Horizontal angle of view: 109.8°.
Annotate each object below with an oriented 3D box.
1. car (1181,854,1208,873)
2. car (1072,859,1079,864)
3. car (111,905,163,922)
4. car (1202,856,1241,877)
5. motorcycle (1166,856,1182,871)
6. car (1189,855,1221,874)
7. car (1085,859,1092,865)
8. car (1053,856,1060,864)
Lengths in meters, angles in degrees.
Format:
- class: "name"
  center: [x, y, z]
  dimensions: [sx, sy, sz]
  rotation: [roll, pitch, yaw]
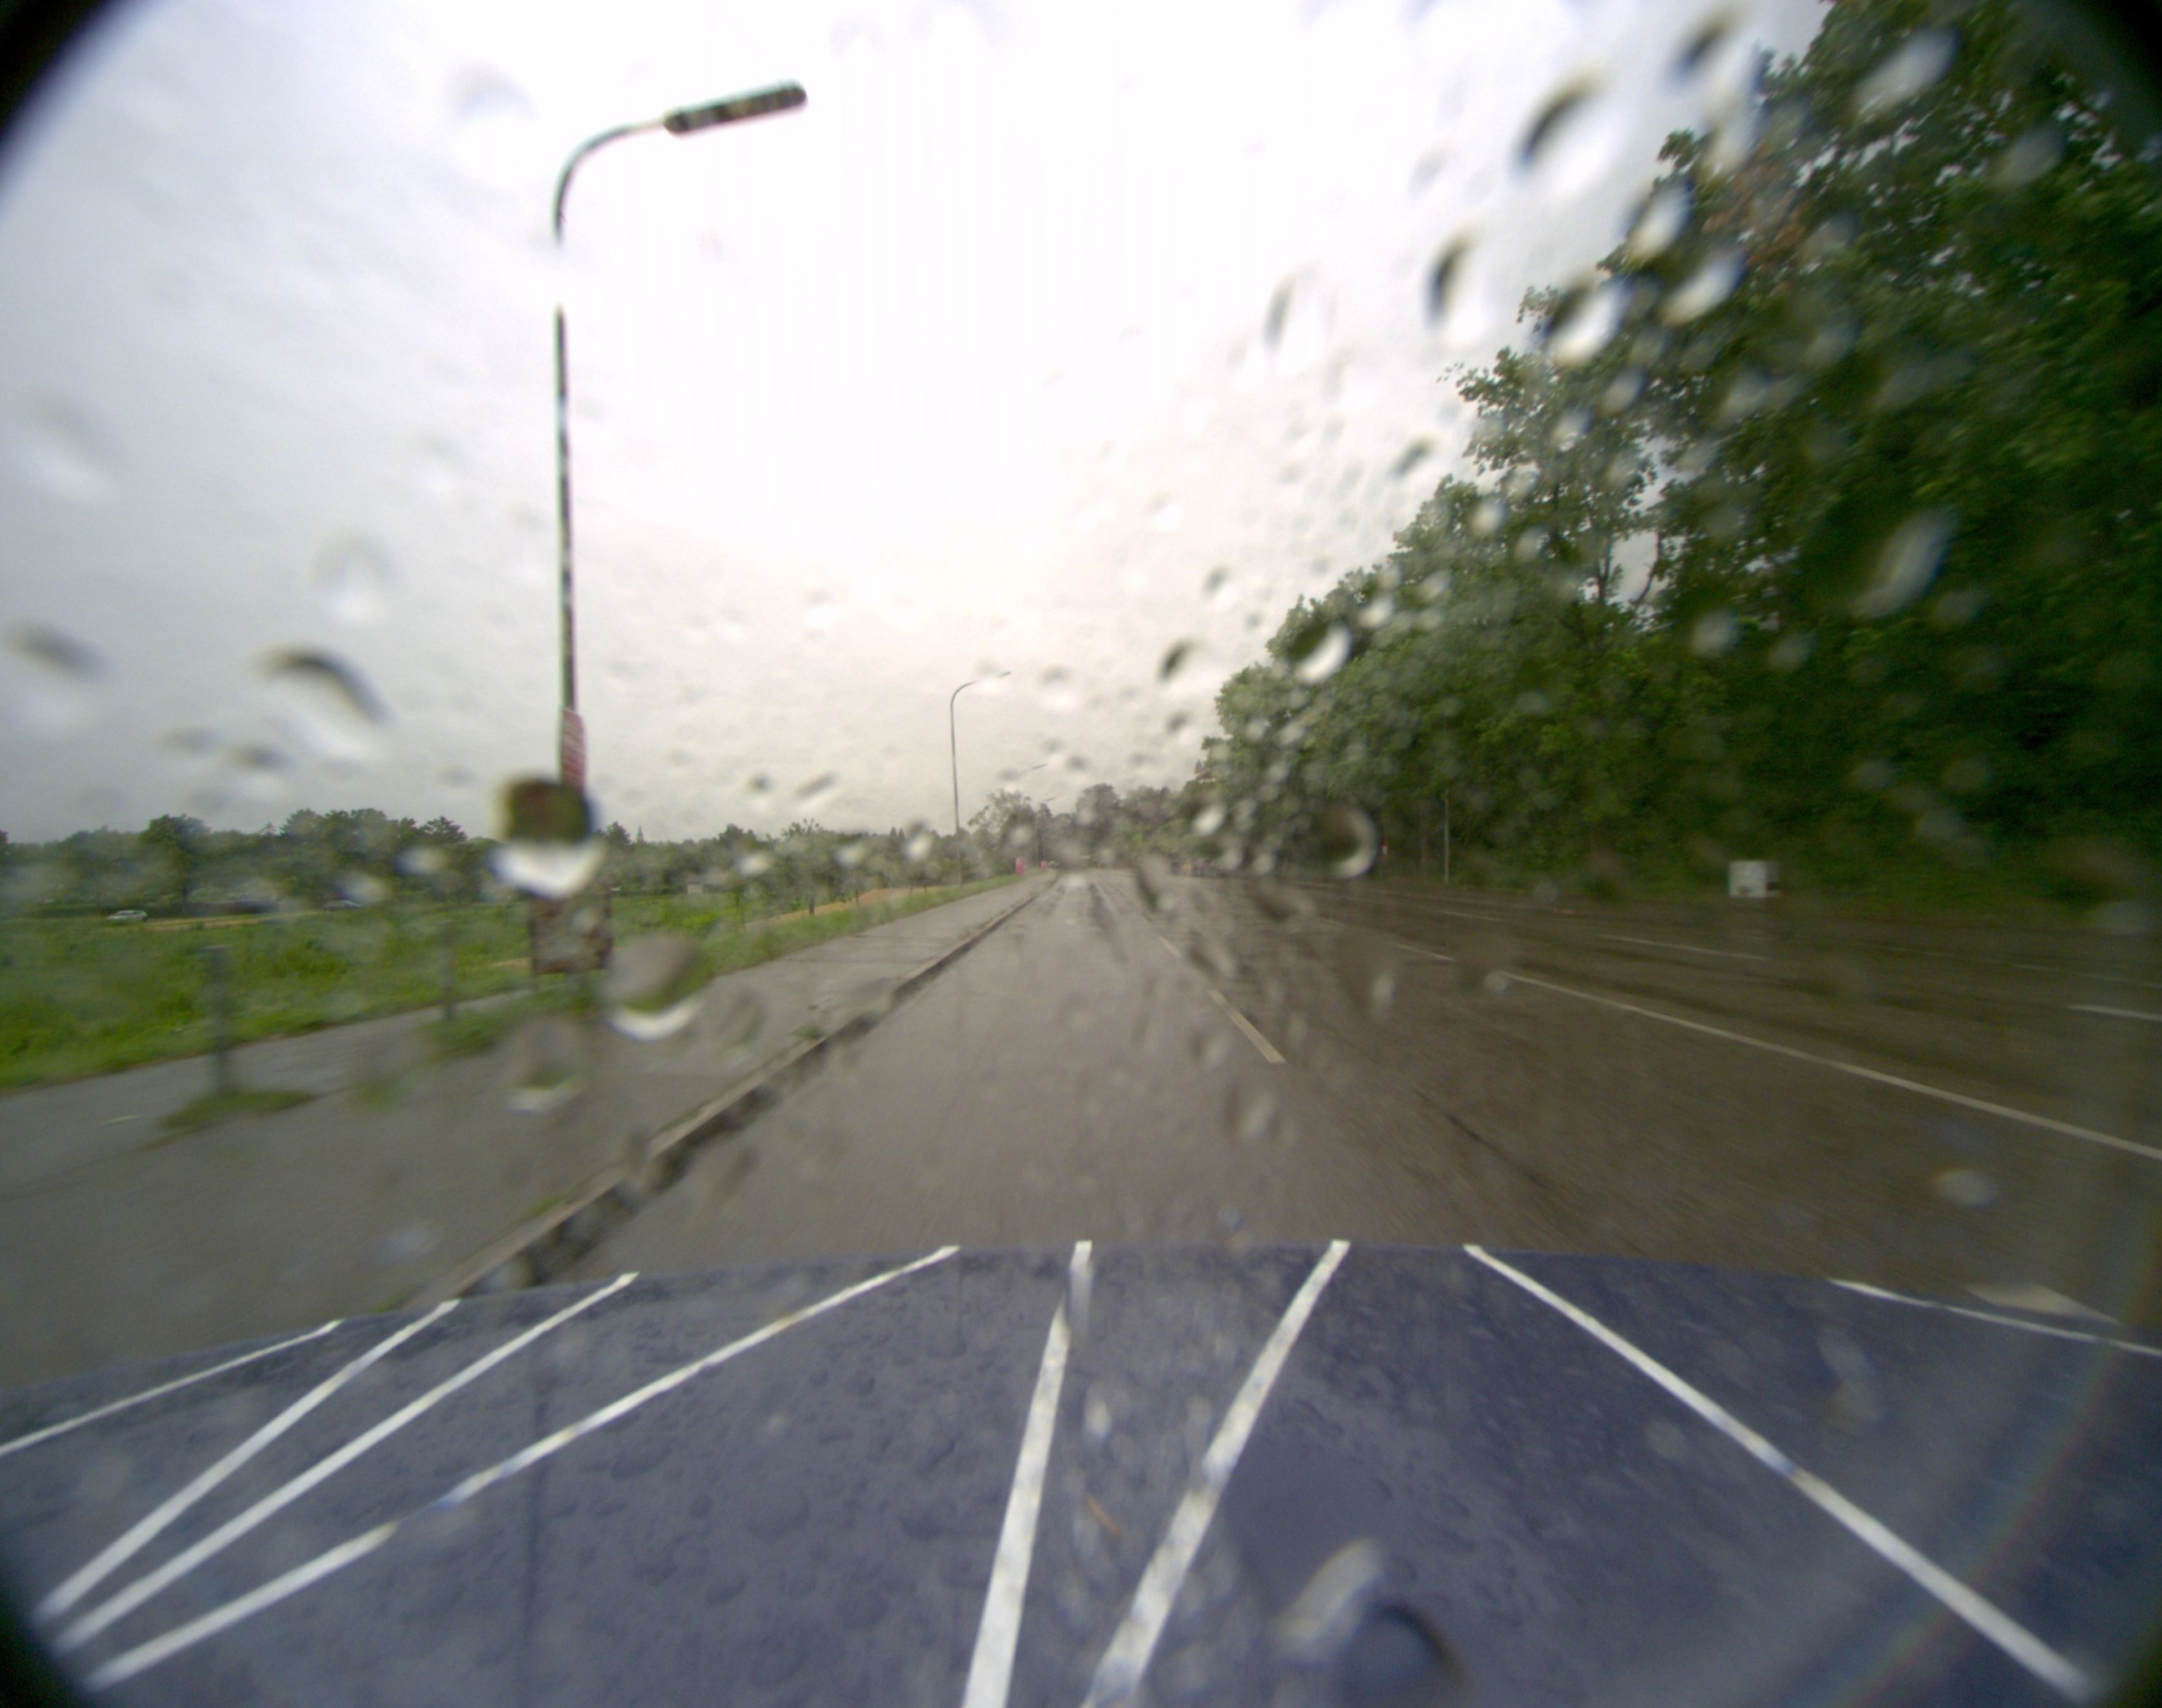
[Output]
- class: "car"
  center: [9.401, 0.807, 63.119]
  dimensions: [1.438, 1.528, 2.817]
  rotation: [-1, 0, -9]
- class: "car"
  center: [-1.818, 2.490, 254.548]
  dimensions: [1.853, 1.583, 3.704]
  rotation: [-2, -1, -3]
- class: "car"
  center: [-109.720, 6.909, 88.351]
  dimensions: [1.801, 1.501, 4.159]
  rotation: [-3, 0, -19]
- class: "car"
  center: [9.904, 0.834, 53.939]
  dimensions: [1.691, 1.411, 4.740]
  rotation: [-1, 0, -3]
- class: "motorcycle"
  center: [8.514, 0.857, 69.777]
  dimensions: [0.840, 1.333, 2.497]
  rotation: [-1, 0, -7]
- class: "car"
  center: [9.586, 0.820, 59.132]
  dimensions: [1.437, 1.411, 4.102]
  rotation: [-1, 0, -6]
- class: "car"
  center: [2.086, 2.248, 217.950]
  dimensions: [1.853, 1.583, 3.704]
  rotation: [-2, -1, -3]
- class: "car"
  center: [-6.673, 1.666, 208.574]
  dimensions: [1.999, 2.001, 4.000]
  rotation: [-2, -1, -2]
